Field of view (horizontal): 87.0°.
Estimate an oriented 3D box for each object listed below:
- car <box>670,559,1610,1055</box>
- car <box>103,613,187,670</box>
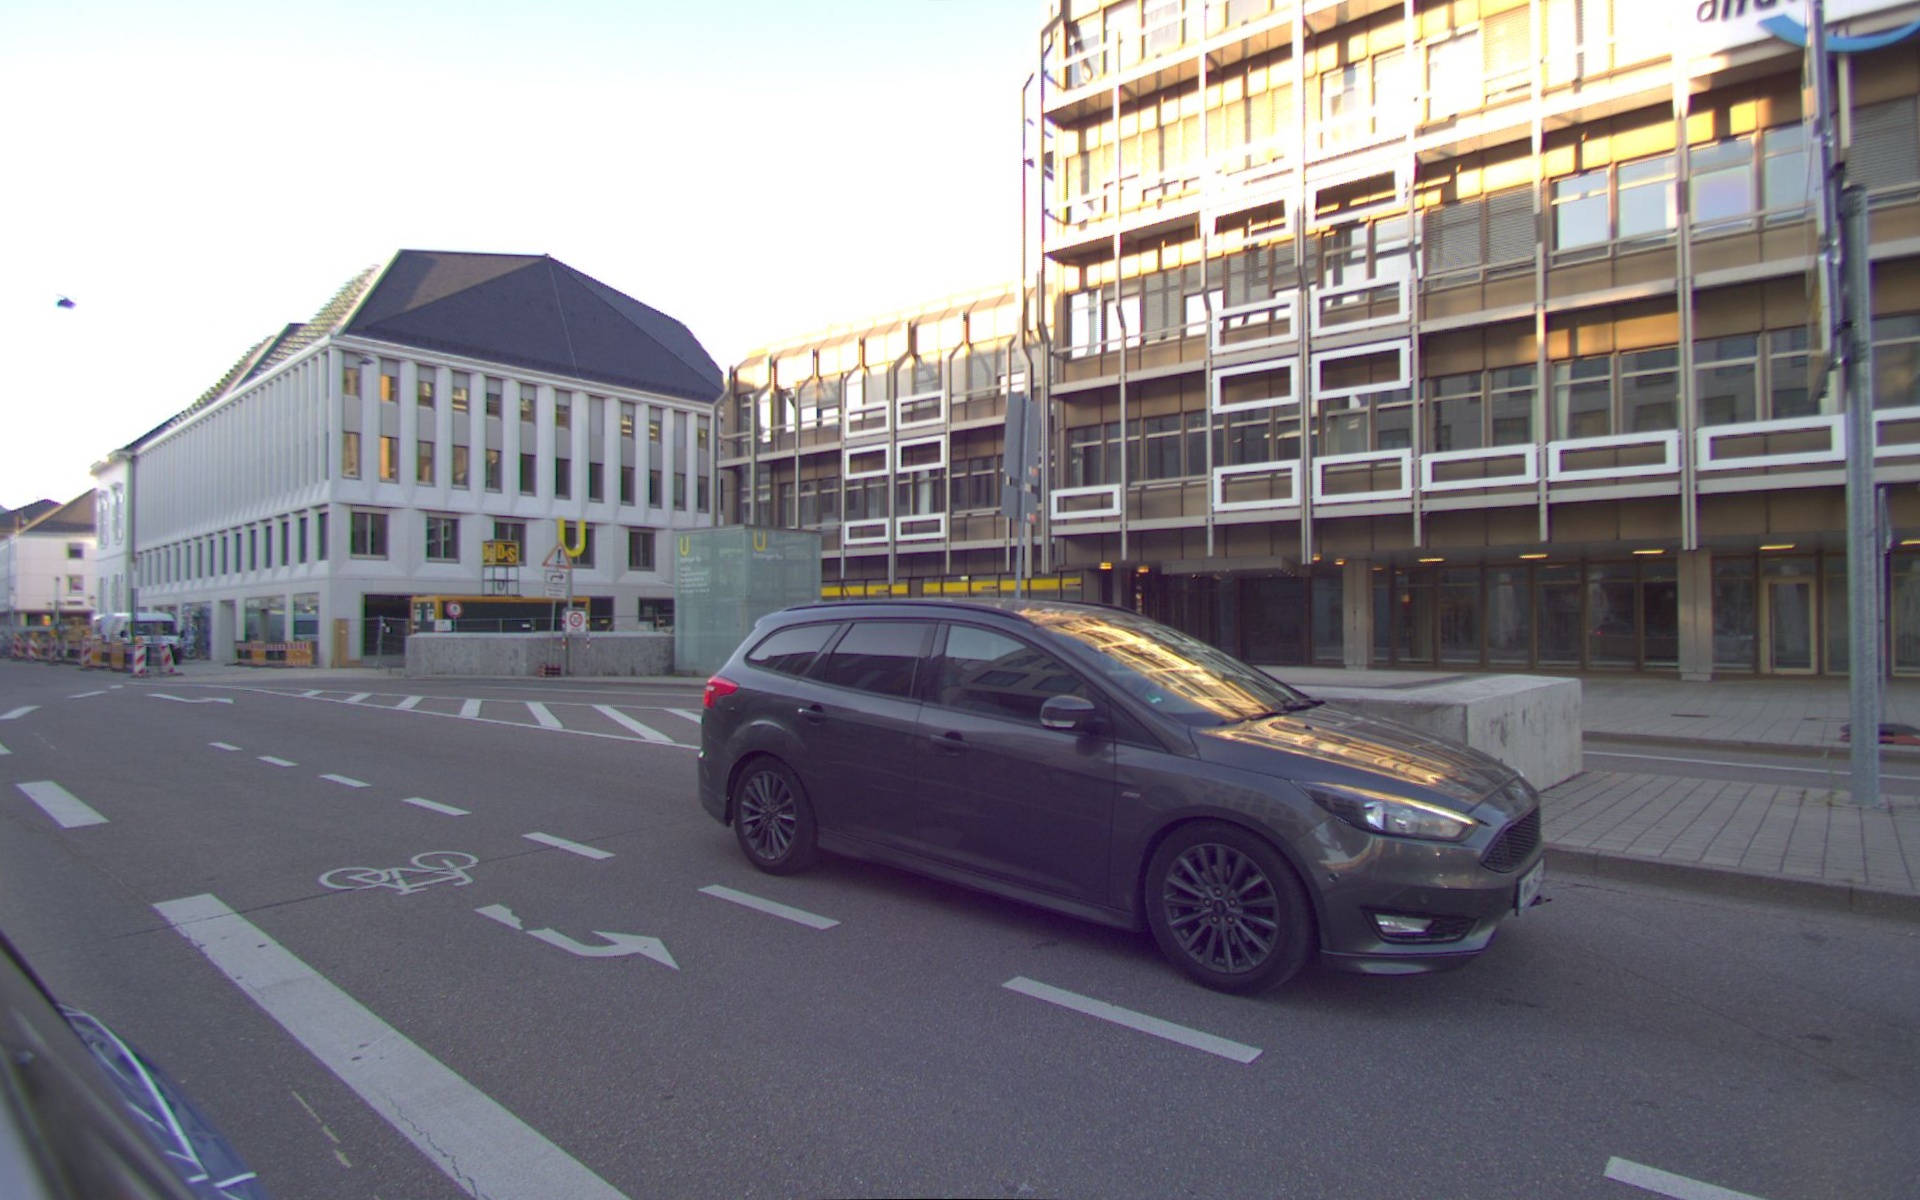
[{"bbox_3d":[0.555,0.664,5.108,4.377,1.473,1.740,-2,-1,40],"label":"car"},{"bbox_3d":[-38.835,1.954,48.162,6.047,2.575,2.114,-2,-3,41],"label":"car"}]
